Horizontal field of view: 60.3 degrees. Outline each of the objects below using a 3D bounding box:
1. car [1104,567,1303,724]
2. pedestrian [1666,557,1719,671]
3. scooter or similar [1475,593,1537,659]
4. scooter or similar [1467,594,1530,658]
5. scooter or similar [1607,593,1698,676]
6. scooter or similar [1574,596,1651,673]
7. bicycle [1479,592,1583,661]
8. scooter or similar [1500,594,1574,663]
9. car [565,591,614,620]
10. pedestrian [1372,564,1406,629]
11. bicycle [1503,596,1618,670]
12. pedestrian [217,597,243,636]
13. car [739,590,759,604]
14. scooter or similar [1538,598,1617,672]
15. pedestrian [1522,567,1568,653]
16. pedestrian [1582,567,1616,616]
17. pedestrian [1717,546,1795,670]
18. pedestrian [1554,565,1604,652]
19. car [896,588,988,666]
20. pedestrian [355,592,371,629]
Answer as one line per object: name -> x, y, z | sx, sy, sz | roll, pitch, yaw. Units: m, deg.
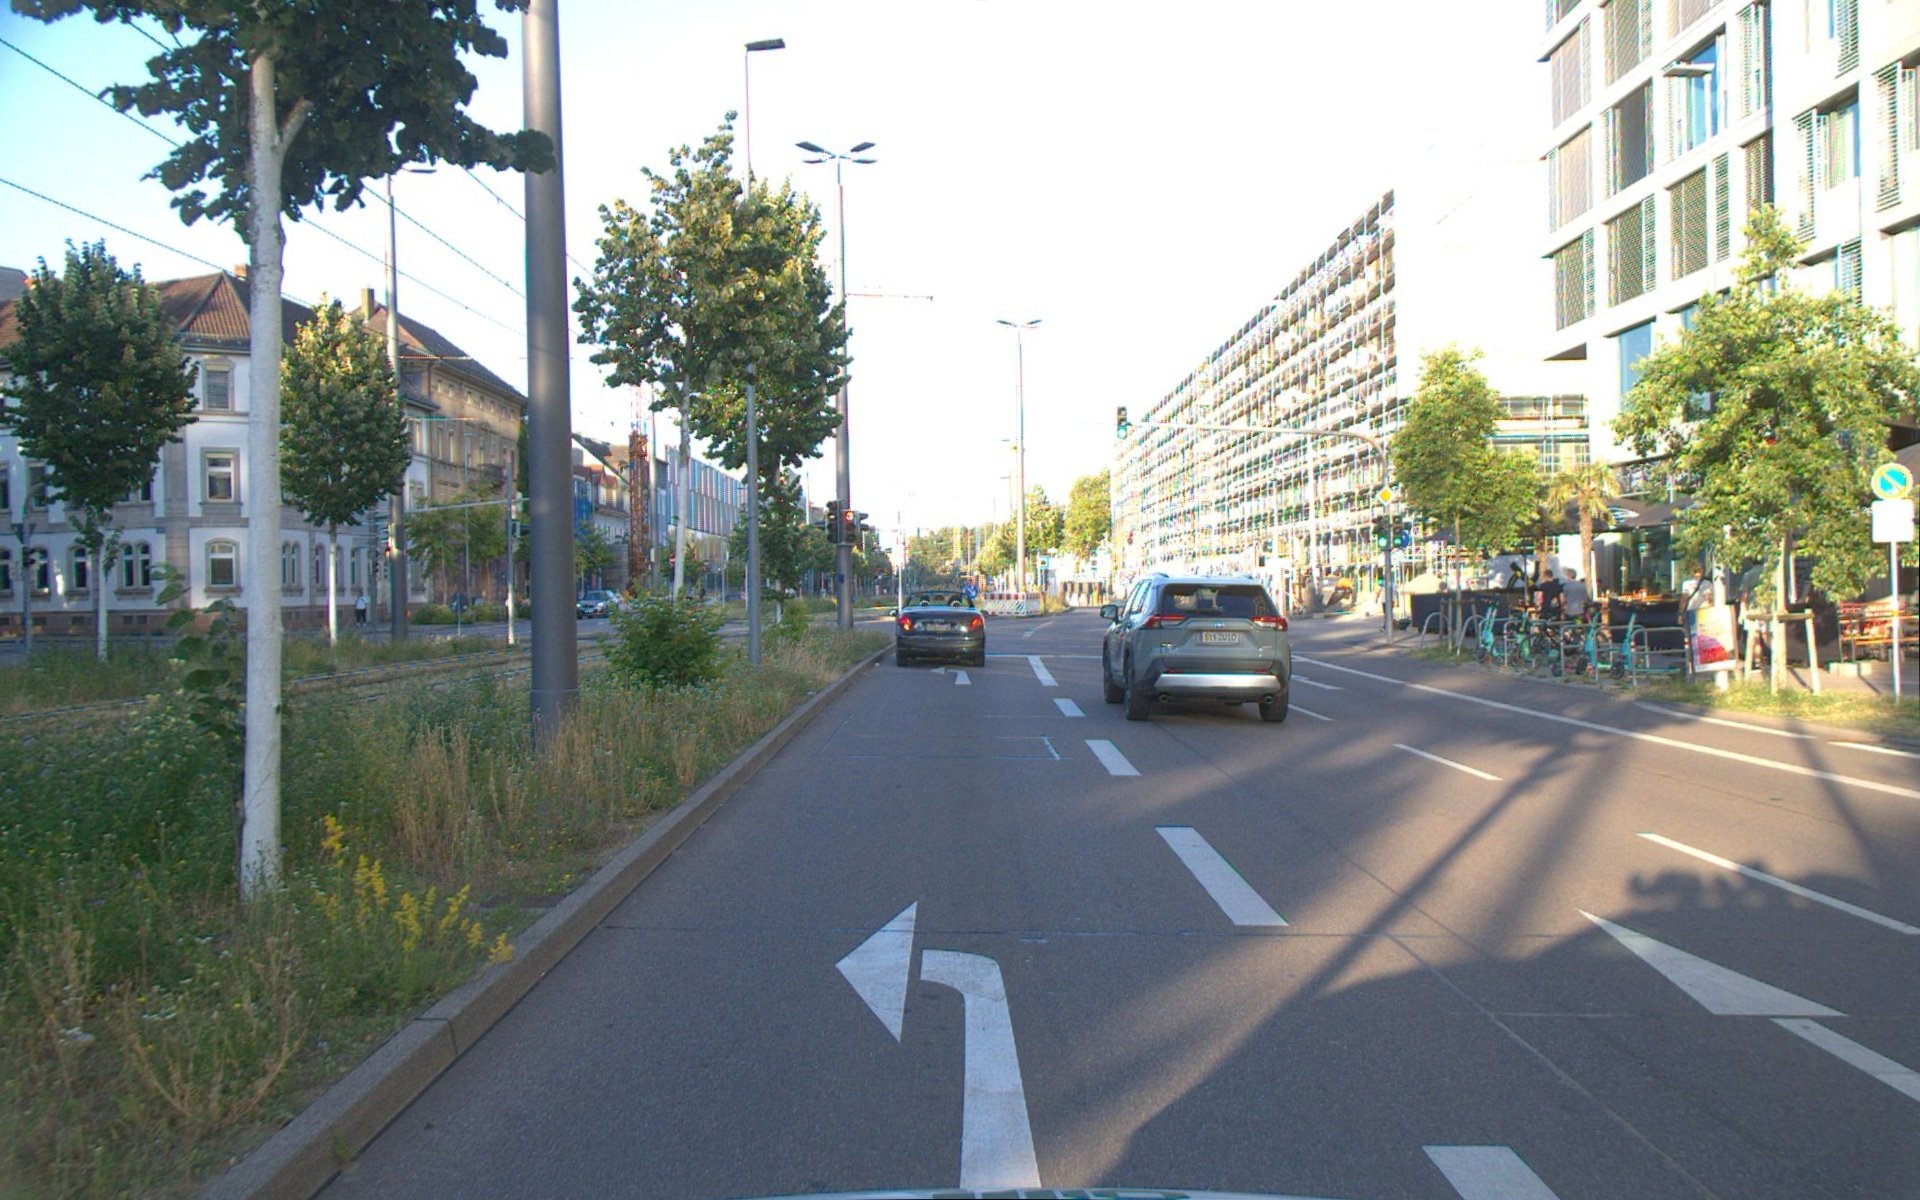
car -> 2.832, 0.462, 20.114 | 1.796, 1.701, 4.282 | 0, 1, 0
pedestrian -> 12.040, 0.230, 27.198 | 0.564, 1.817, 0.829 | -3, -1, 12
scooter or similar -> 10.846, 0.509, 32.892 | 1.039, 1.244, 0.550 | -3, 0, 9
scooter or similar -> 11.093, 0.521, 34.074 | 1.031, 1.244, 0.598 | -3, 1, -5
scooter or similar -> 11.074, 0.553, 26.453 | 1.266, 1.239, 0.535 | -4, 0, 23
scooter or similar -> 11.041, 0.580, 28.007 | 1.104, 1.235, 0.532 | -3, -1, 15
bicycle -> 10.955, 0.502, 31.760 | 1.759, 1.214, 0.567 | -3, 1, -5
scooter or similar -> 10.888, 0.530, 31.220 | 1.186, 1.222, 0.479 | -3, 1, -6
car -> -22.260, 0.329, 99.504 | 1.953, 1.607, 4.124 | -2, 1, 0
pedestrian -> 12.707, -0.109, 49.000 | 0.753, 1.880, 0.678 | -2, 0, -1
bicycle -> 10.866, 0.592, 29.948 | 1.809, 1.202, 0.608 | -3, 1, -1
pedestrian -> -28.509, 0.631, 64.605 | 0.591, 1.484, 0.936 | 1, 0, 1
car -> -22.937, -0.343, 179.715 | 1.623, 1.456, 3.895 | 1, 1, 1
scooter or similar -> 10.740, 0.606, 28.780 | 1.132, 1.212, 0.510 | -3, -1, 1
pedestrian -> 12.184, 0.198, 34.465 | 0.640, 1.731, 0.689 | -3, 1, -1
pedestrian -> 18.364, -0.248, 47.511 | 0.730, 1.342, 0.715 | -4, 0, 12
pedestrian -> 12.832, 0.129, 26.689 | 0.807, 1.921, 0.867 | -3, -1, 8
pedestrian -> 12.899, 0.165, 34.479 | 0.671, 1.765, 0.761 | -3, 1, -1
car -> -0.336, 0.471, 31.758 | 1.640, 1.375, 4.000 | 0, 1, -1
pedestrian -> -28.619, 0.495, 79.270 | 0.691, 1.745, 0.808 | 1, 1, -19
